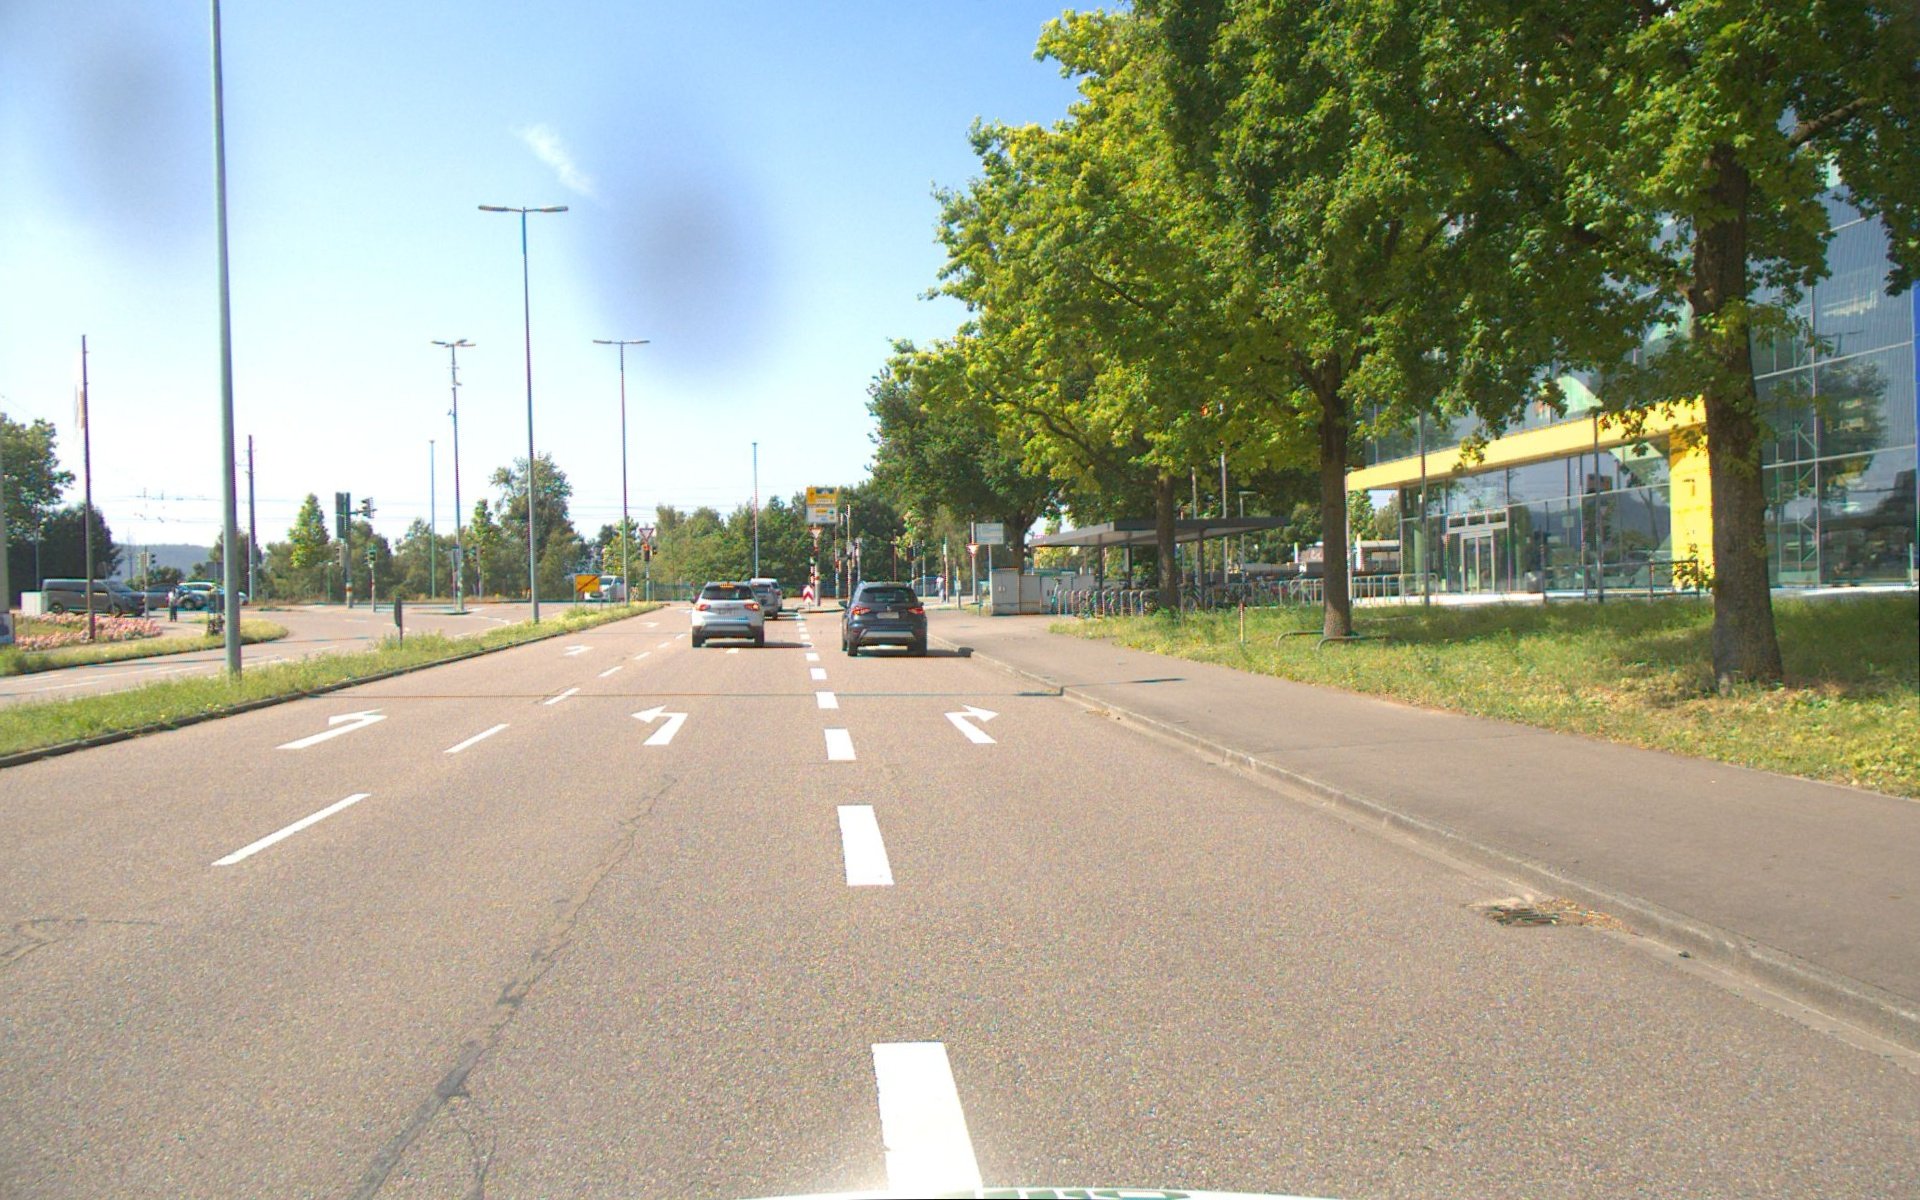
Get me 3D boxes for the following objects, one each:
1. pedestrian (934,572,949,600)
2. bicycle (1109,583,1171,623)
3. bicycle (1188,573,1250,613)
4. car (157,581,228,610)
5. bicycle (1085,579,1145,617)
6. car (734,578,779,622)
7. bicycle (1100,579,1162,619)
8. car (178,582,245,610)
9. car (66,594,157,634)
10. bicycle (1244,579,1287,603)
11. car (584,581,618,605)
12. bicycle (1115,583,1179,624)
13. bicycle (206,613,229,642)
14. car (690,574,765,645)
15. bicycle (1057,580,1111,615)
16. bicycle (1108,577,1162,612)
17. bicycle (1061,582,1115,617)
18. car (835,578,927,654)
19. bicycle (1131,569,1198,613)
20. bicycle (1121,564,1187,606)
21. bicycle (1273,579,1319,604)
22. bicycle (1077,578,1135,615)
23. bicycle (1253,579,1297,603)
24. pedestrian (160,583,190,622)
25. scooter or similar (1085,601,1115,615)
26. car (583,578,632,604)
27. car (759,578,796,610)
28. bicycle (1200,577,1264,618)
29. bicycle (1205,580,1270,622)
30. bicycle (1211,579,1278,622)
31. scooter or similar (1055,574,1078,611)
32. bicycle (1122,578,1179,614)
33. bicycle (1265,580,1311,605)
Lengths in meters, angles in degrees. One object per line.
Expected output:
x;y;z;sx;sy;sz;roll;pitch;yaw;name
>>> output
-1.057;-0.816;94.225;0.756;1.537;1.008;-1;2;5;pedestrian
5.228;0.083;48.063;1.724;1.115;0.451;-2;1;-6;bicycle
7.591;-0.210;48.485;1.724;1.115;0.451;-2;1;-6;bicycle
-42.829;-0.248;92.353;3.323;1.526;1.406;-1;-1;-9;car
4.756;-0.059;50.759;1.724;1.115;0.451;-2;1;-6;bicycle
-7.999;-0.015;64.941;1.674;1.600;4.167;-2;1;-7;car
5.026;-0.035;48.544;1.724;1.115;0.451;-2;1;-6;bicycle
-43.386;-0.211;95.930;3.283;1.526;1.406;-1;-1;-10;car
-43.305;0.706;84.425;3.902;1.958;1.818;0;1;15;car
11.463;-0.352;62.100;1.531;0.858;0.433;-1;1;-6;bicycle
-15.910;-0.337;73.288;1.095;1.021;2.490;-2;1;-4;car
5.337;0.093;47.248;1.724;1.115;0.451;-2;1;-6;bicycle
-26.705;0.992;59.483;0.324;1.040;1.640;-2;-1;-9;bicycle
-5.605;0.194;40.241;1.599;1.524;3.866;-1;2;-5;car
4.142;-0.098;55.462;1.724;1.115;0.451;-2;1;-6;bicycle
5.876;-0.199;55.583;1.724;1.115;0.451;-2;1;-6;bicycle
4.214;-0.019;54.465;1.724;1.115;0.451;-2;1;-6;bicycle
-1.760;0.319;35.863;1.639;1.550;3.370;0;0;-9;car
5.554;-0.244;44.871;1.724;1.115;0.451;-2;0;-6;bicycle
5.403;-0.411;46.074;1.724;1.115;0.462;-2;1;-6;bicycle
11.901;-0.309;58.577;1.531;0.858;0.433;-1;1;-5;bicycle
4.598;-0.119;52.156;1.724;1.115;0.451;-2;1;-6;bicycle
11.641;-0.343;61.074;1.530;0.858;0.433;-1;1;-4;bicycle
-36.635;0.112;77.185;0.822;1.736;0.906;-2;1;6;pedestrian
4.870;0.275;57.446;0.897;0.459;0.962;-3;-1;14;scooter or similar
-21.861;-0.573;102.640;1.756;1.574;4.090;-1;0;7;car
-8.819;-0.305;80.183;1.708;1.473;4.383;-1;1;-6;car
7.761;-0.084;47.207;1.724;1.115;0.451;-2;1;-6;bicycle
7.771;0.013;46.362;1.724;1.115;0.451;-2;1;-6;bicycle
7.764;0.003;45.209;1.724;1.115;0.451;-2;1;-6;bicycle
3.827;-0.276;59.364;0.762;1.287;0.283;-2;1;-9;scooter or similar
6.136;-0.127;53.321;1.724;1.115;0.451;-2;1;-6;bicycle
11.792;-0.288;59.440;1.531;0.858;0.433;-1;1;-5;bicycle
